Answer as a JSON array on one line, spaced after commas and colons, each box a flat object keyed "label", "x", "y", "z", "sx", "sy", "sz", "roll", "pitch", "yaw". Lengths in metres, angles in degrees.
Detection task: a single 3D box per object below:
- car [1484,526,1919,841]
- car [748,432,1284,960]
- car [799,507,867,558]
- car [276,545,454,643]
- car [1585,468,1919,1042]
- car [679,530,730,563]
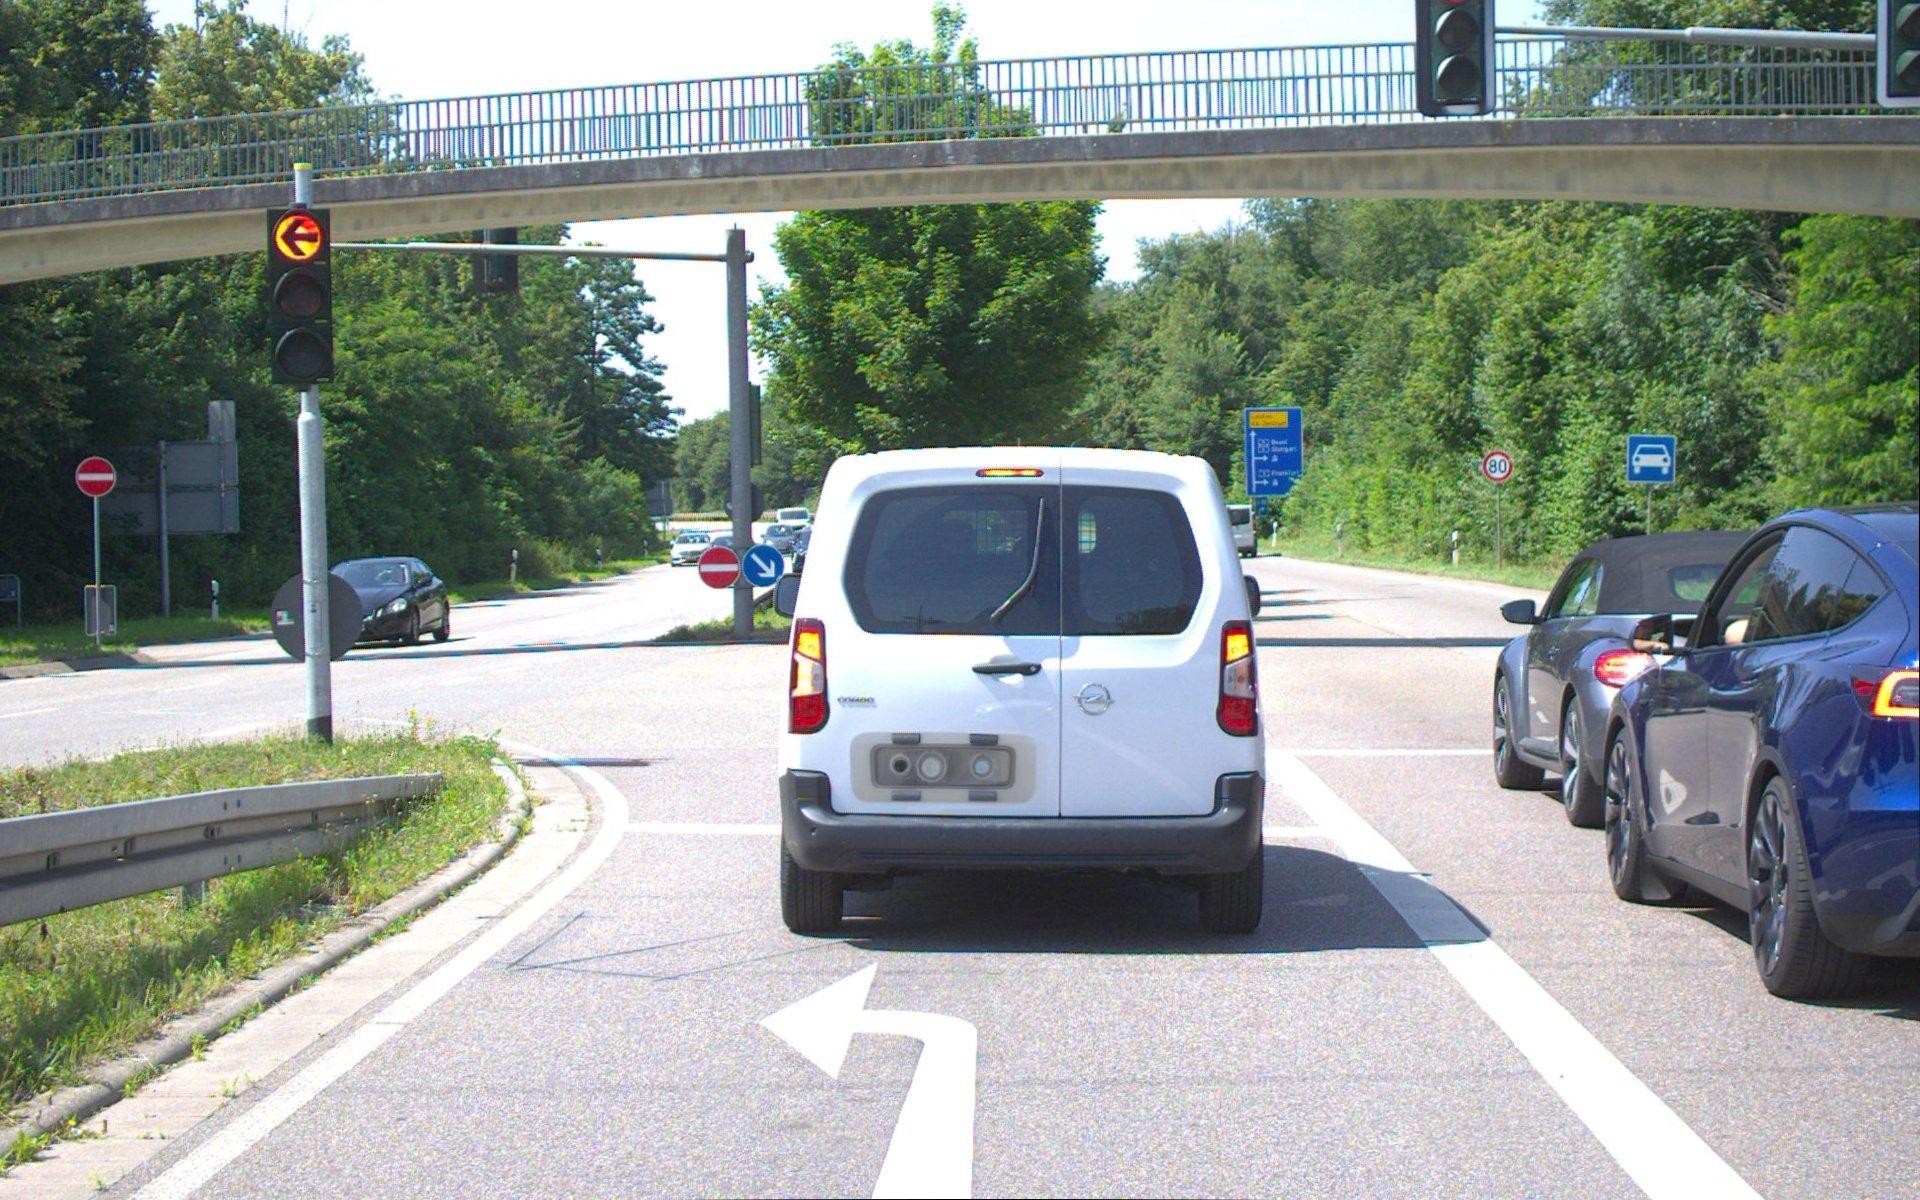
[{"label": "car", "x": 3.997, "y": 0.356, "z": 18.356, "sx": 1.900, "sy": 1.472, "sz": 3.939, "roll": 1, "pitch": 1, "yaw": 2}, {"label": "car", "x": 0.231, "y": 0.268, "z": 13.985, "sx": 1.849, "sy": 1.819, "sz": 3.981, "roll": 1, "pitch": 2, "yaw": 1}, {"label": "car", "x": -4.310, "y": -2.277, "z": 117.514, "sx": 1.994, "sy": 1.678, "sz": 4.000, "roll": 1, "pitch": 0, "yaw": 2}, {"label": "car", "x": -9.610, "y": -0.126, "z": 55.851, "sx": 2.008, "sy": 1.455, "sz": 4.055, "roll": -2, "pitch": 1, "yaw": 2}, {"label": "car", "x": 3.494, "y": 0.400, "z": 12.061, "sx": 1.900, "sy": 1.639, "sz": 4.520, "roll": 1, "pitch": 1, "yaw": 2}, {"label": "car", "x": -11.240, "y": -2.376, "z": 151.422, "sx": 1.753, "sy": 1.402, "sz": 4.000, "roll": -1, "pitch": 1, "yaw": 2}]
